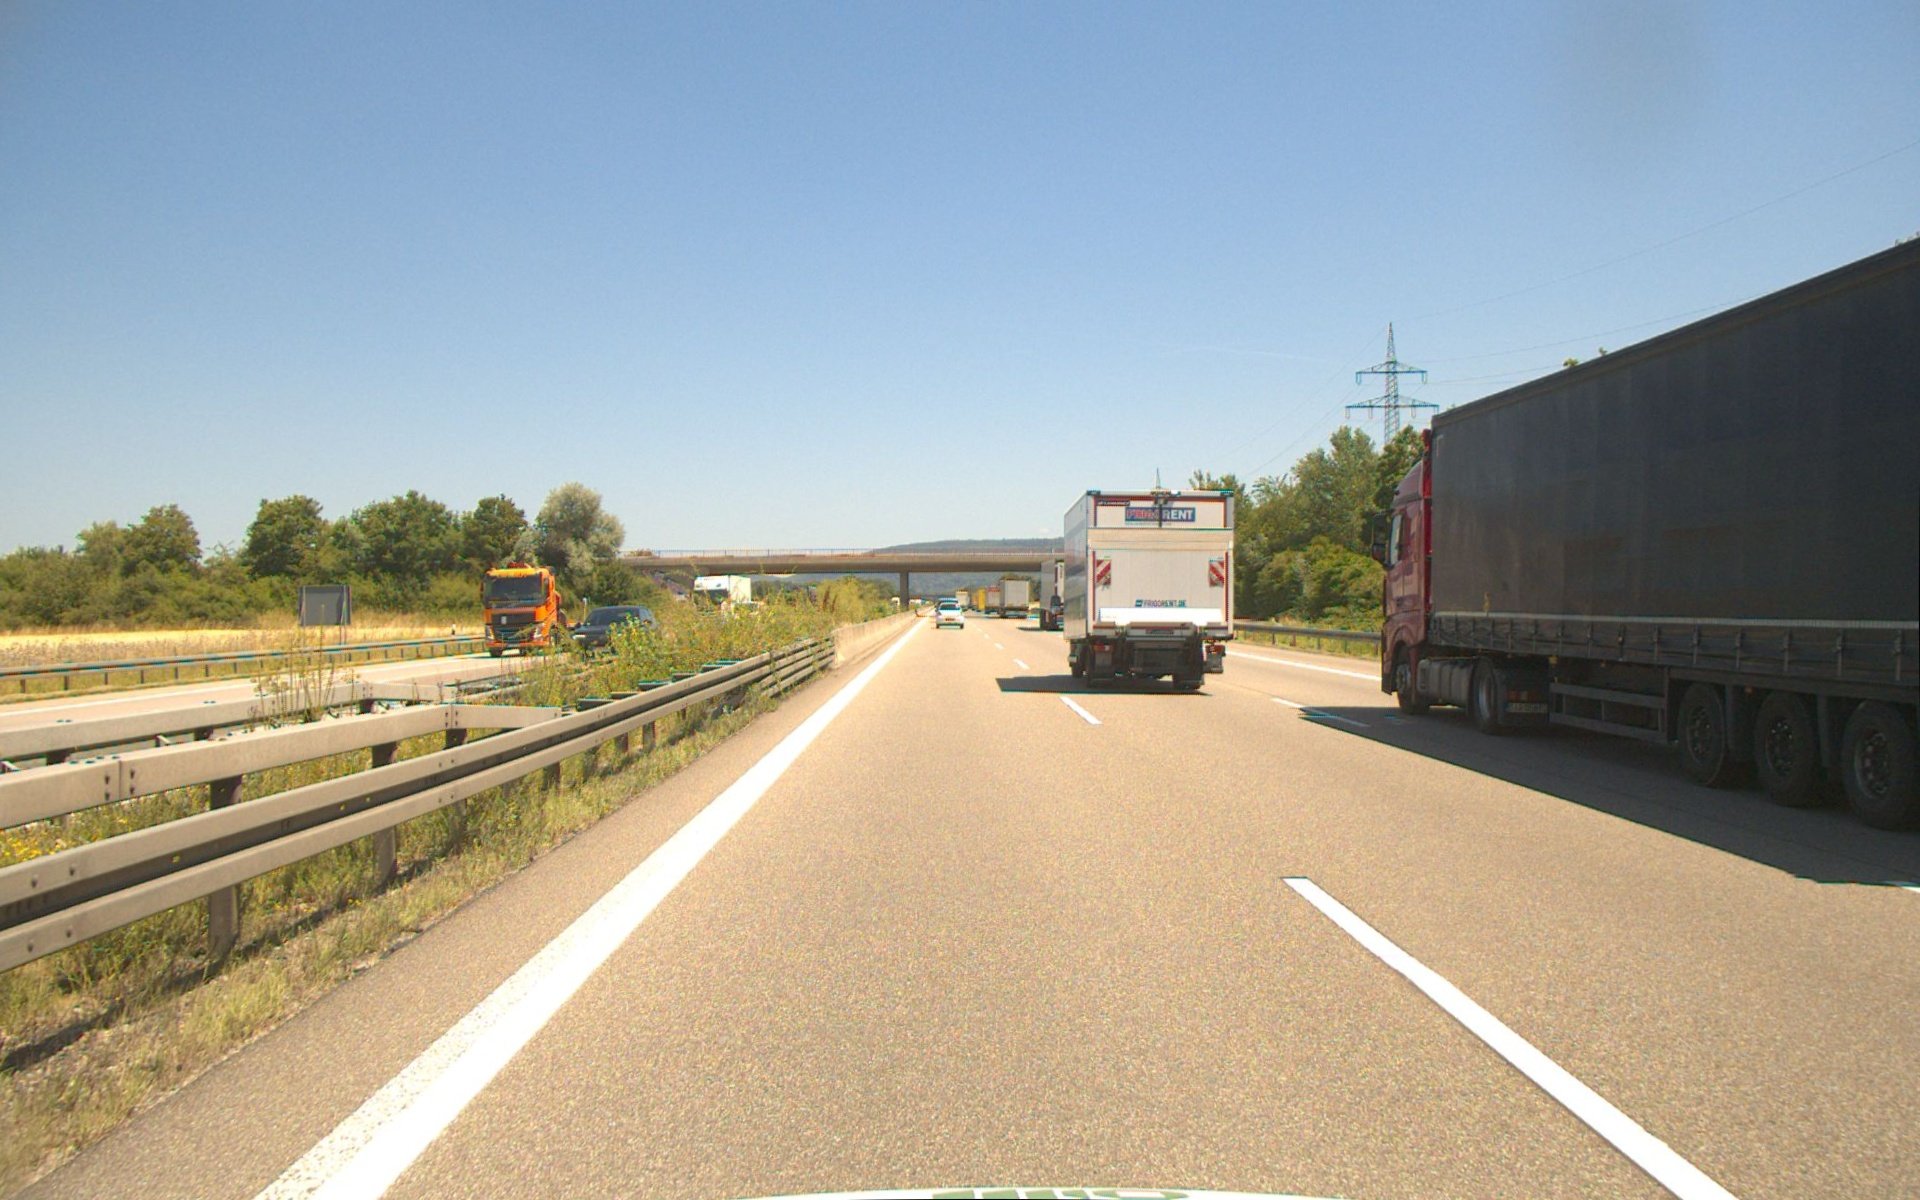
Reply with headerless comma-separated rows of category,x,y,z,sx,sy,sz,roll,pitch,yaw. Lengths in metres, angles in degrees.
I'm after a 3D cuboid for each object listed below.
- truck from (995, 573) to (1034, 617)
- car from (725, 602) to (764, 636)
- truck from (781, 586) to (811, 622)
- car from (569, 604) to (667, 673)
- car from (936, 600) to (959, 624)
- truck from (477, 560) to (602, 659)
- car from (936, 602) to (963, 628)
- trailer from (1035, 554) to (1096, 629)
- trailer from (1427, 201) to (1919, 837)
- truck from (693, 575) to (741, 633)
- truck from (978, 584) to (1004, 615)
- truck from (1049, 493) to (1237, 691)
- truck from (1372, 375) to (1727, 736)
truck,5.776,-0.488,177.772,3.449,4.493,14.588,-1,0,-1
car,-13.575,1.168,104.225,1.844,2.022,4.737,-3,0,-1
truck,-18.808,0.428,189.801,2.777,4.007,5.823,-2,0,-1
car,-9.117,0.995,44.427,1.763,1.682,4.123,-2,0,-1
car,-0.965,0.951,132.047,1.724,1.883,4.000,-1,0,0
truck,-17.409,0.364,69.232,2.598,3.725,10.187,-2,0,-1
car,-0.598,0.913,99.636,1.574,1.493,4.000,-1,0,0
trailer,6.340,-0.469,101.161,2.737,4.237,13.954,0,0,0
trailer,7.719,-0.529,15.457,2.732,4.237,13.572,0,0,-1
truck,-17.777,0.290,121.271,2.626,4.085,5.754,-2,0,-1
truck,4.631,-0.046,248.091,3.449,4.493,14.588,-1,0,-1
truck,3.413,-0.121,32.985,2.726,3.432,8.126,1,0,-1
truck,7.663,-0.522,22.356,2.738,4.237,5.722,0,0,0
